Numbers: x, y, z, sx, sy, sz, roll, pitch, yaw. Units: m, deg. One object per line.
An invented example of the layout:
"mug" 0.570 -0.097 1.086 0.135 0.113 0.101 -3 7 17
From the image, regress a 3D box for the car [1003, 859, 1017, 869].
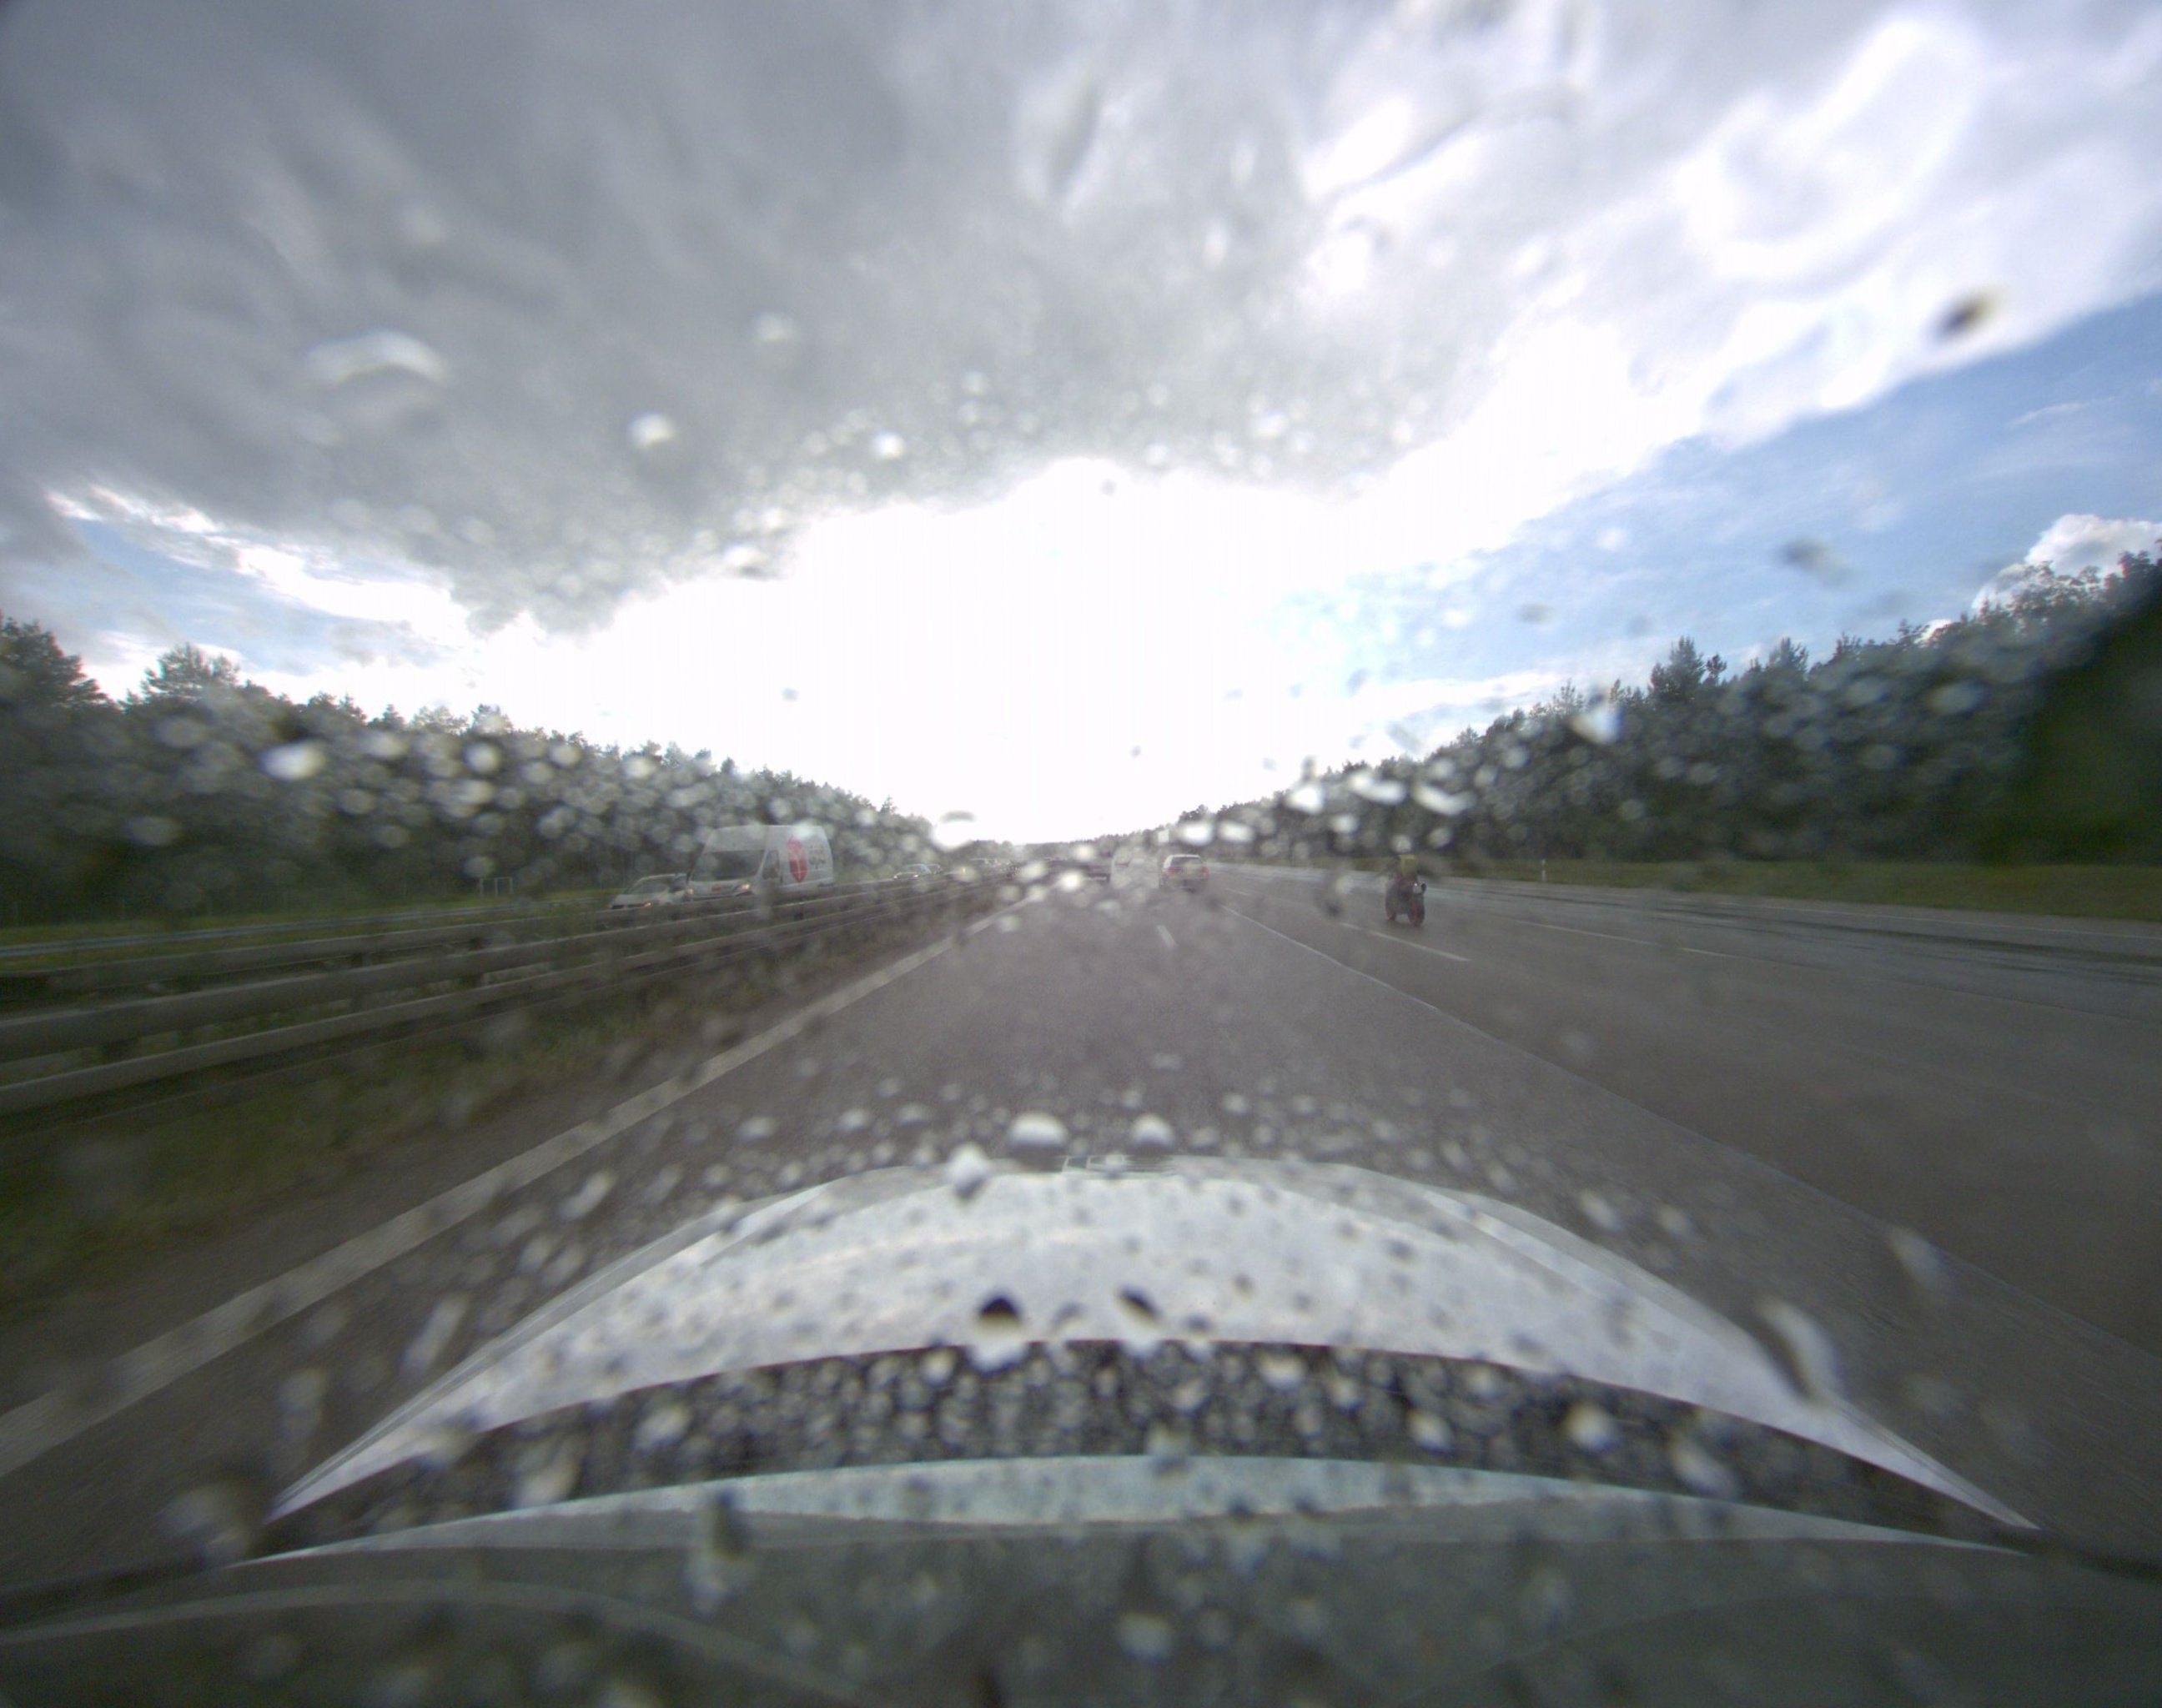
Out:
"car" -12.705 1.834 146.550 1.893 1.547 4.514 -4 0 1

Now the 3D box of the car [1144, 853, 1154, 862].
"car" 15.610 0.877 186.390 1.986 2.014 4.001 0 0 2

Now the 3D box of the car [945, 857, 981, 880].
"car" -8.301 0.999 57.683 1.783 1.542 3.725 -3 0 3

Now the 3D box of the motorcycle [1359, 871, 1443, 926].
"motorcycle" 6.672 0.894 17.124 0.996 1.031 2.175 -1 0 3

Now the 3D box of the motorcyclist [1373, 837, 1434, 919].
"motorcyclist" 6.615 0.477 16.748 0.888 1.614 0.959 -1 -1 2

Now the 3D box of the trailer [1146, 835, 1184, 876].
"trailer" 8.780 0.181 86.709 2.317 4.001 13.402 -1 0 -2

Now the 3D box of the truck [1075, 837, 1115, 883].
"truck" 0.810 0.341 47.056 2.130 2.489 5.313 -1 0 1

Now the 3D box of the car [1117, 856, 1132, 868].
"car" 5.496 0.954 102.660 1.823 1.466 4.003 -1 0 3

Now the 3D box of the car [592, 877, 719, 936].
"car" -13.471 1.606 26.067 1.745 1.579 3.957 -2 0 4

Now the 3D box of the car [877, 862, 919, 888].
"car" -12.142 1.351 54.282 1.746 1.579 3.849 -2 0 2

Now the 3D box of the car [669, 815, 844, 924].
"car" -9.056 0.392 23.609 2.125 2.662 6.676 -2 0 2

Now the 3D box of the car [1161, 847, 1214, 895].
"car" 4.431 0.660 34.599 2.068 1.885 5.019 0 0 5

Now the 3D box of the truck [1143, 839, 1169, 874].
"truck" 8.555 0.279 93.542 2.287 3.868 5.388 -1 -1 -2

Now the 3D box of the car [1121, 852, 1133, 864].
"car" 7.757 0.697 137.701 1.901 2.013 4.001 -1 0 1
